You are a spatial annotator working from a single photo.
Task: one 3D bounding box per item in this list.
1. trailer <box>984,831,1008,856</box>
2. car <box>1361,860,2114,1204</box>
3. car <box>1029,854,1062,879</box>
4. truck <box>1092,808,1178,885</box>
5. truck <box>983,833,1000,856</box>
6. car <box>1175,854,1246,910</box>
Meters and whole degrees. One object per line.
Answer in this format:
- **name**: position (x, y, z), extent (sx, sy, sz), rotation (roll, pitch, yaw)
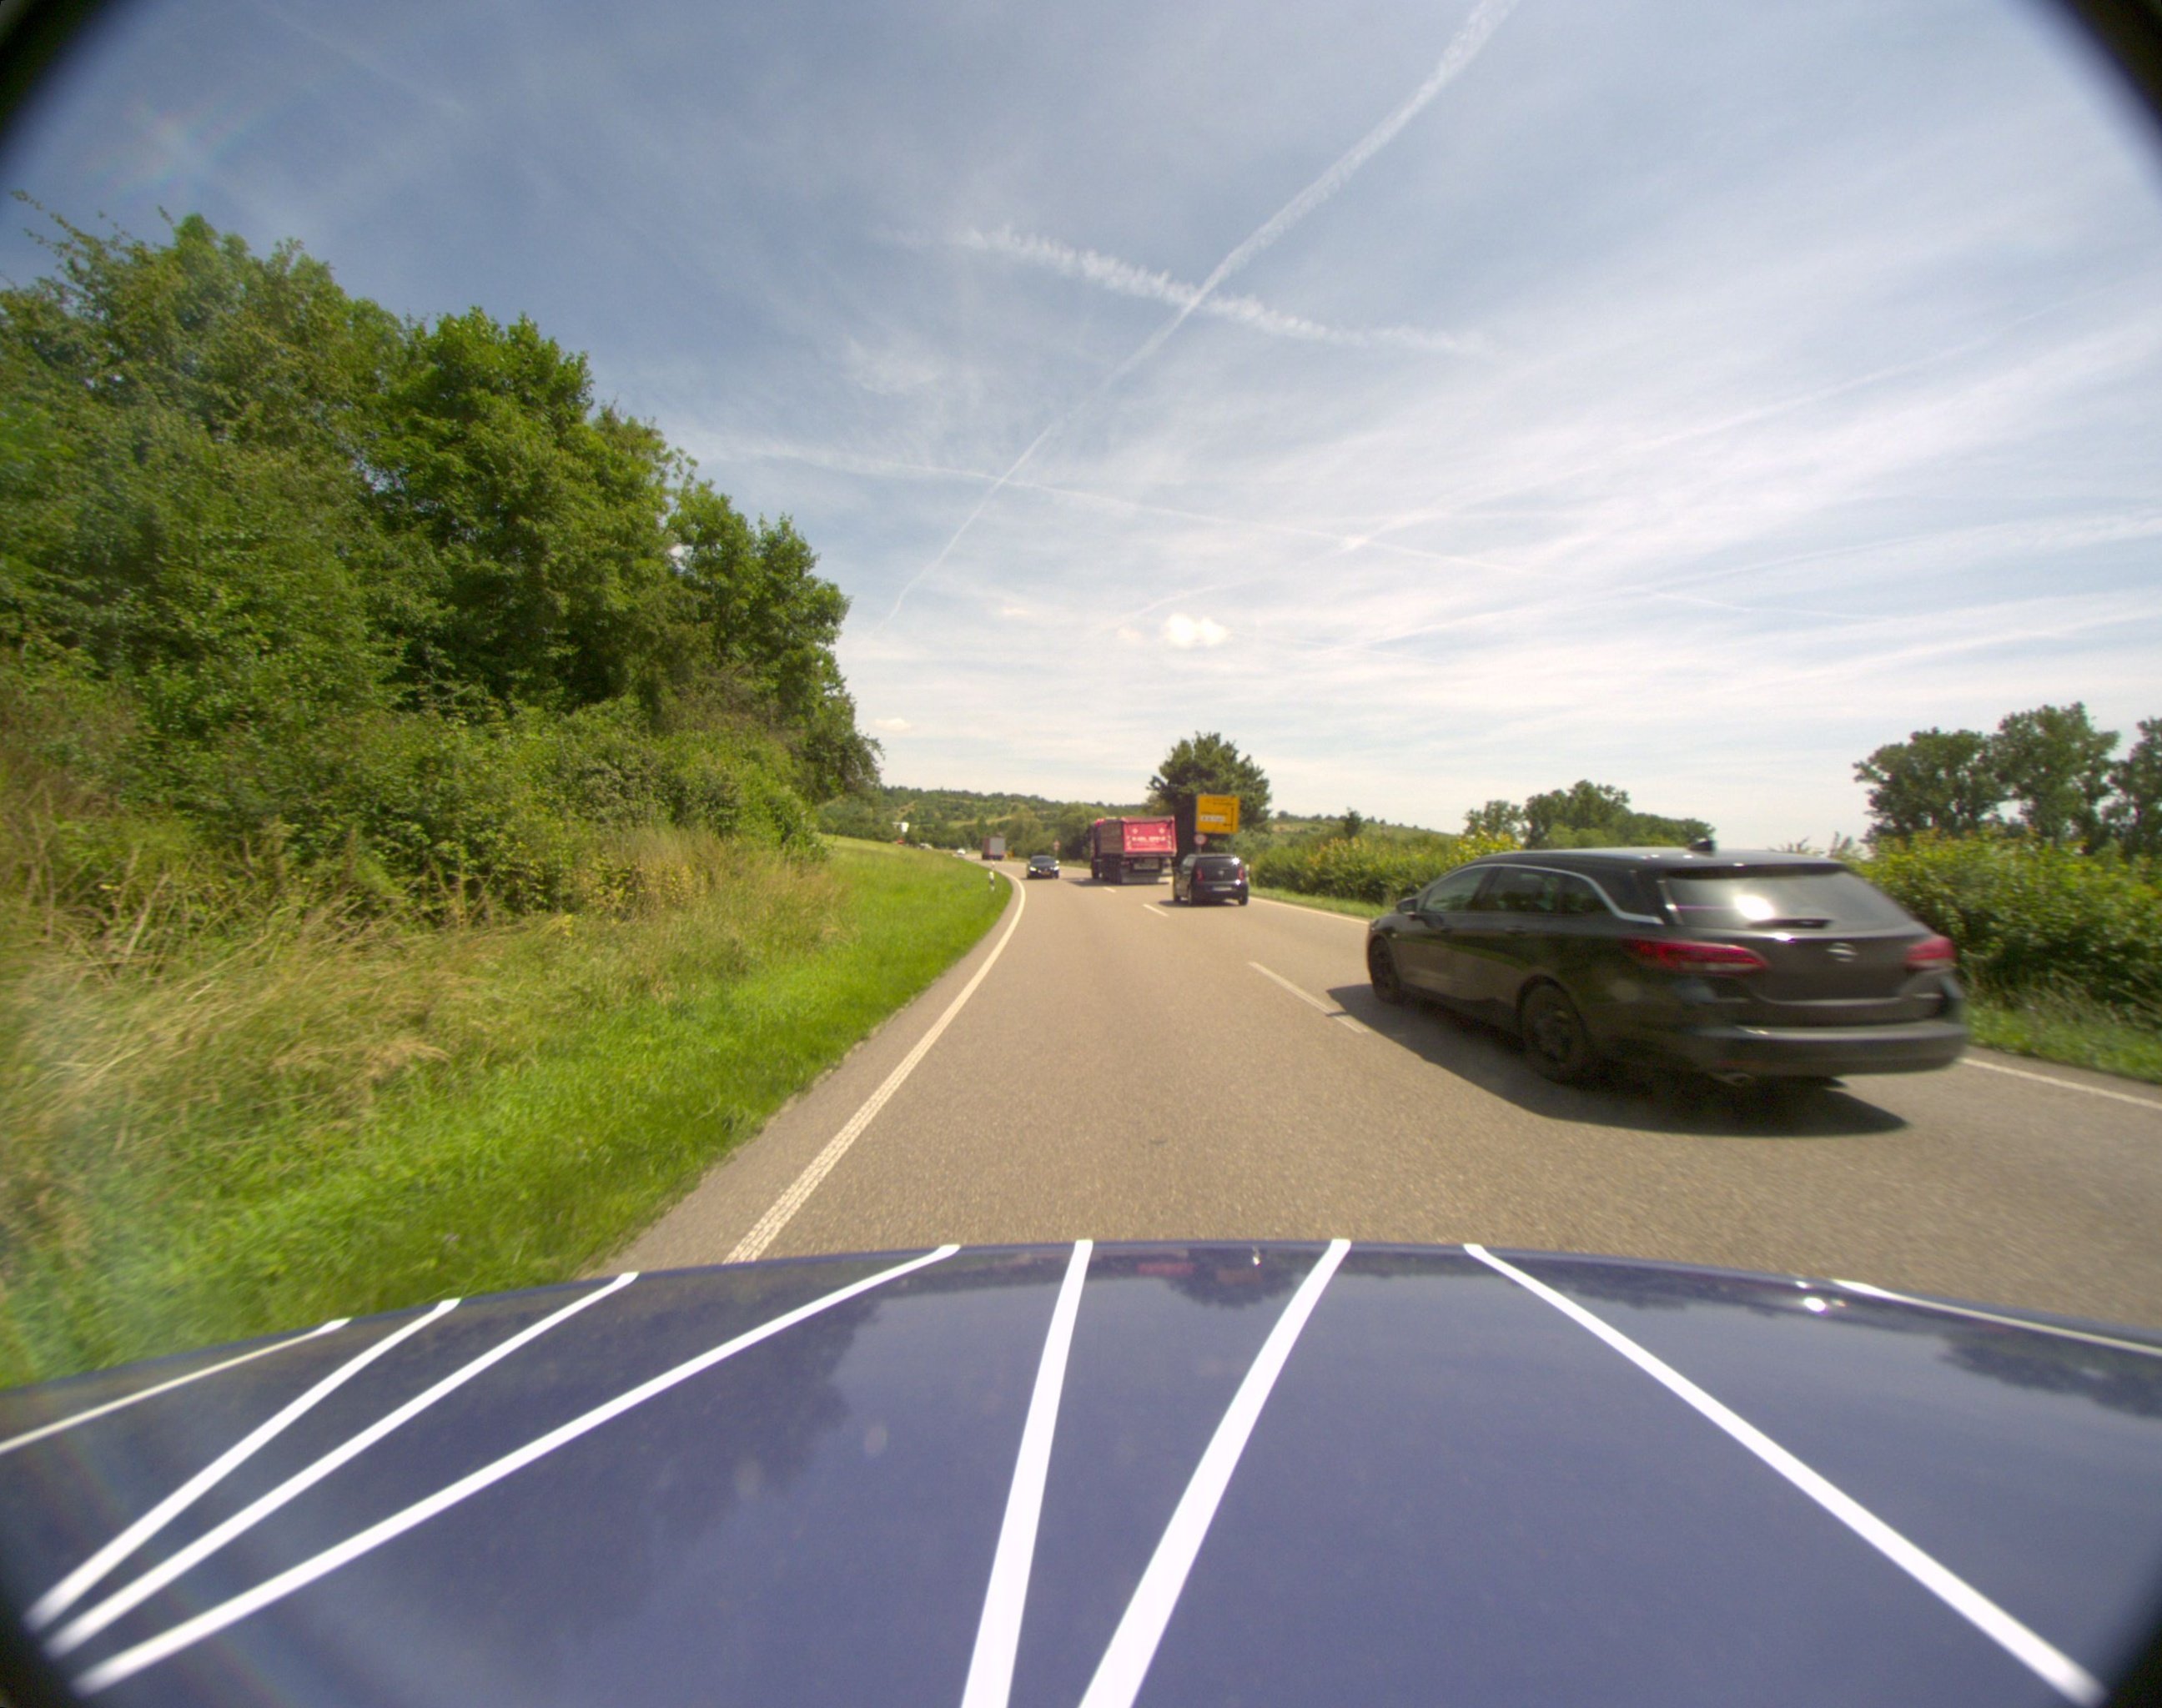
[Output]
- **trailer**: position (-14.813, -1.708, 131.368), extent (2.577, 4.084, 13.645), rotation (-1, 1, -12)
- **car**: position (3.761, 0.812, 5.589), extent (1.714, 1.462, 4.374), rotation (-1, 0, -1)
- **car**: position (-2.310, 0.753, 47.952), extent (1.786, 1.440, 4.601), rotation (-1, 0, -6)
- **truck**: position (2.540, -0.395, 40.621), extent (2.560, 3.432, 12.627), rotation (-1, 0, -5)
- **truck**: position (-16.277, -1.744, 138.281), extent (2.568, 4.092, 5.792), rotation (-1, 1, -12)
- **car**: position (3.694, 0.739, 22.056), extent (1.433, 1.462, 3.271), rotation (-1, 0, -1)
